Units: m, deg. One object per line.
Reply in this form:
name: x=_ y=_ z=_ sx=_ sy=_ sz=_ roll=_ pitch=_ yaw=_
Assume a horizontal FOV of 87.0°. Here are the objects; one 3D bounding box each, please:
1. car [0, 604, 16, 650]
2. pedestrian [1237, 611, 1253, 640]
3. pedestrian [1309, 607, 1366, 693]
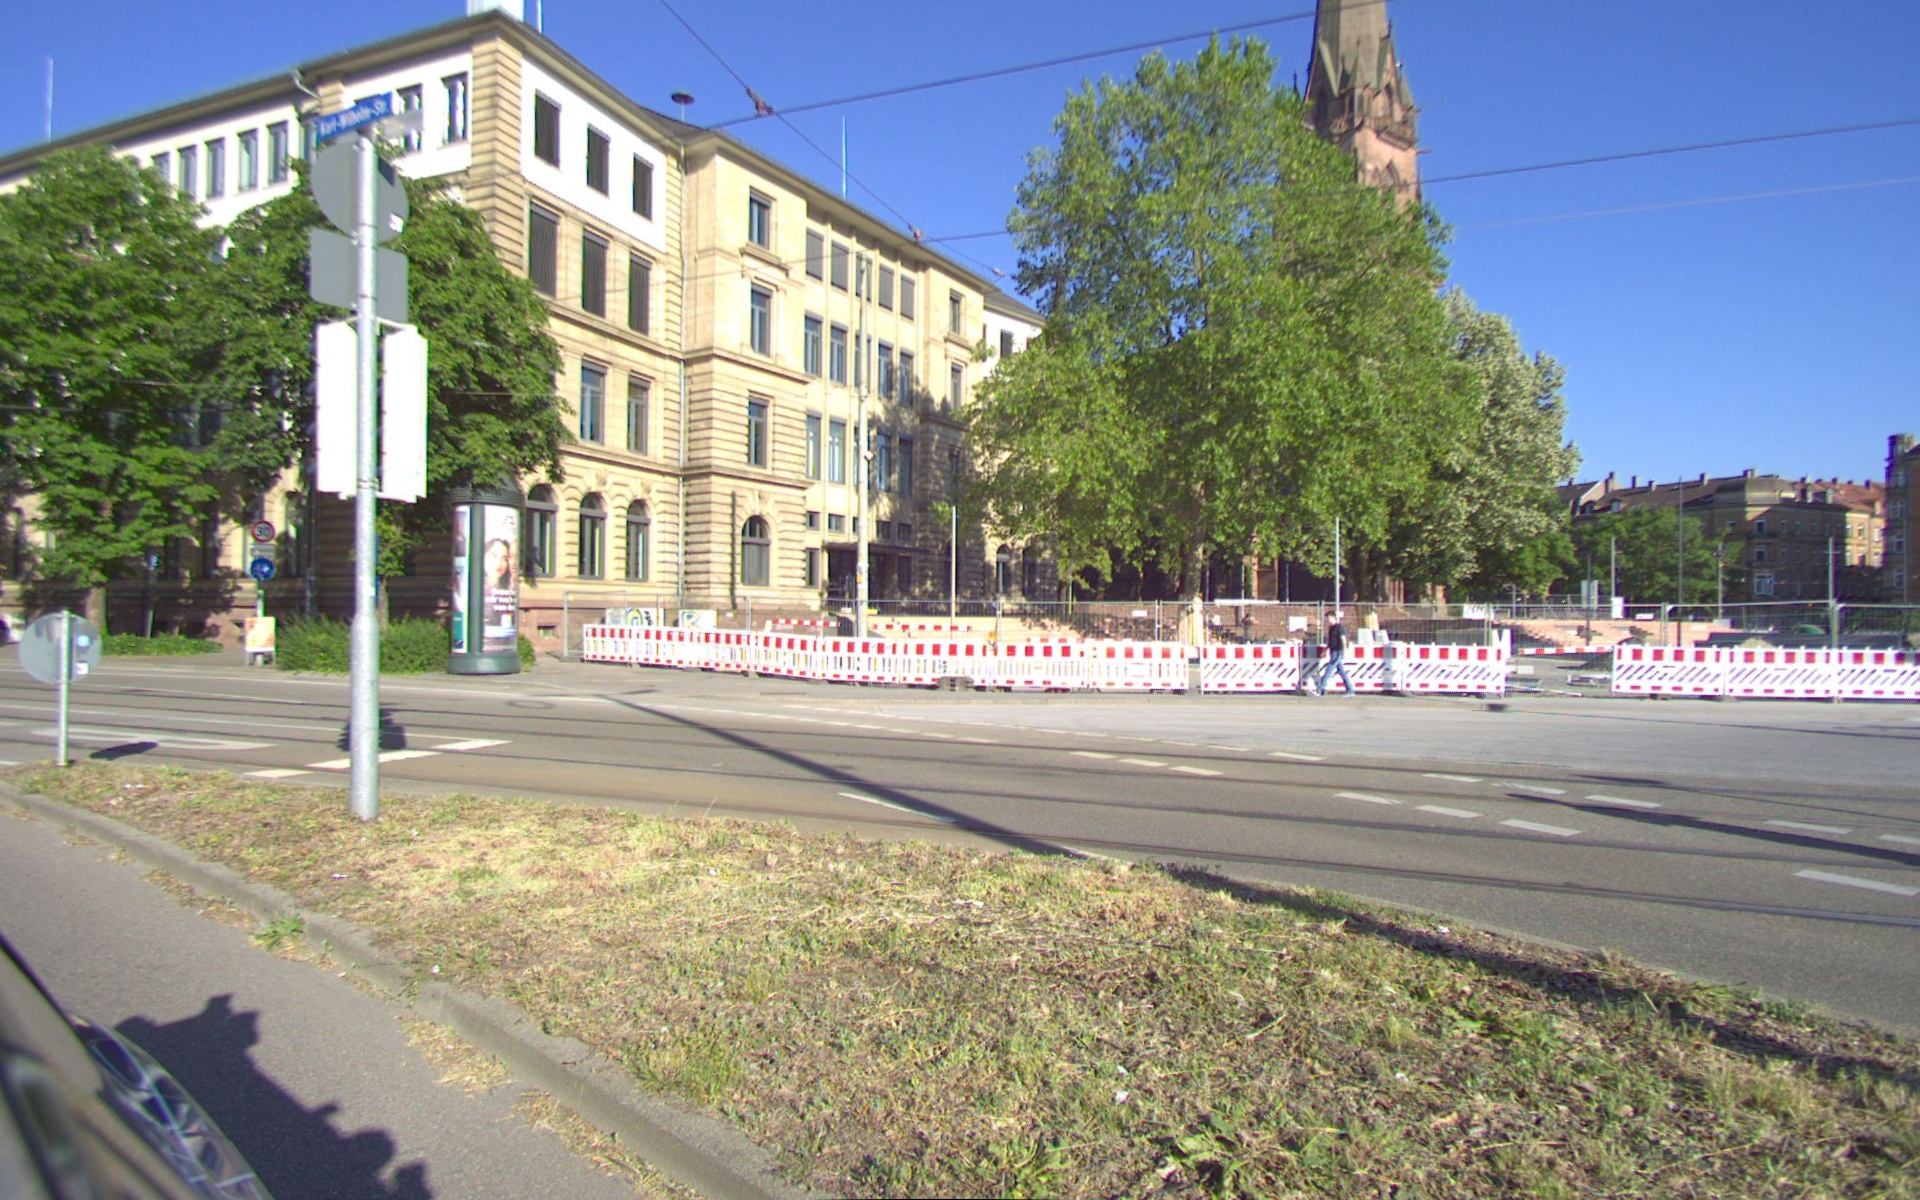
car: x=-35.516 y=1.014 z=35.310 sx=1.816 sy=1.643 sz=4.191 roll=-1 pitch=1 yaw=-11
pedestrian: x=16.436 y=1.480 z=58.332 sx=0.628 sy=1.660 sz=0.676 roll=1 pitch=-1 yaw=-45
pedestrian: x=7.797 y=1.029 z=20.929 sx=0.890 sy=1.710 sz=0.709 roll=2 pitch=-2 yaw=7
